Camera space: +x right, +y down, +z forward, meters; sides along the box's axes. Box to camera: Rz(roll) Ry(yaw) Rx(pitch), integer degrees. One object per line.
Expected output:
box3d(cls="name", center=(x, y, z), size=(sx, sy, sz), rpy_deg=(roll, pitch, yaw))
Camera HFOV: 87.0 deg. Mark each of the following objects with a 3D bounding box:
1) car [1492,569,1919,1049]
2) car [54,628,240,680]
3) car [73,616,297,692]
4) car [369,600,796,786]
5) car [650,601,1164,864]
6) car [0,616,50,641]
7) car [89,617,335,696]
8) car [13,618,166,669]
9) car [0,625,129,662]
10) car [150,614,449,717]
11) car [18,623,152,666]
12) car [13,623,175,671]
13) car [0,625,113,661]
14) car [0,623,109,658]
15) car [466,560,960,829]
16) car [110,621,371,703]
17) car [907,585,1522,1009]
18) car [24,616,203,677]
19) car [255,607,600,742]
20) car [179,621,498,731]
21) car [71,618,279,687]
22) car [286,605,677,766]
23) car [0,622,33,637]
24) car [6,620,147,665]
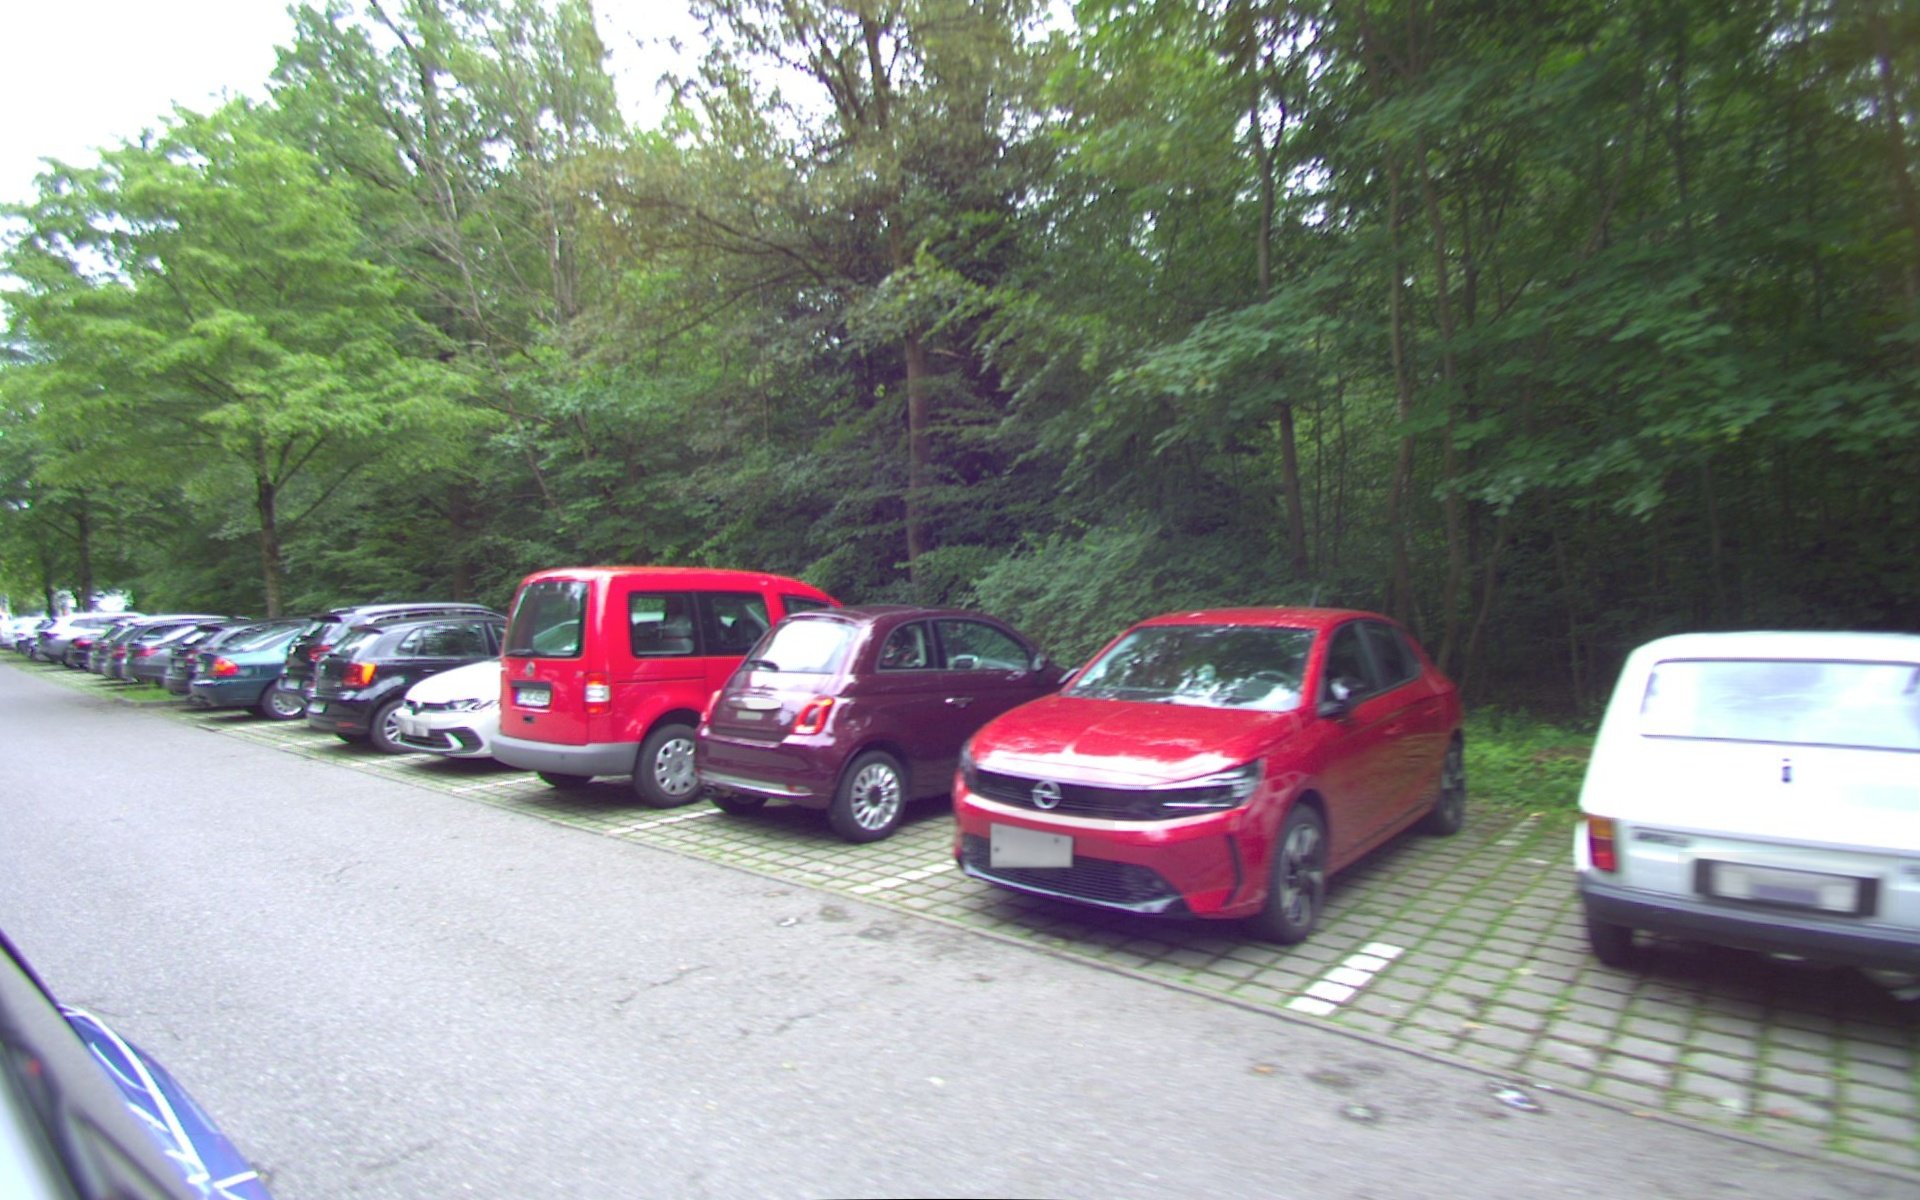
box3d(cls="car", center=(4.002, 0.643, 4.762), size=(1.770, 1.459, 3.945), rpy_deg=(-2, -1, 41))
box3d(cls="car", center=(-23.710, 1.529, 29.654), size=(1.710, 1.381, 3.951), rpy_deg=(-1, -1, 36))
box3d(cls="car", center=(-18.472, 1.224, 24.286), size=(1.710, 1.528, 3.952), rpy_deg=(-1, 0, 36))
box3d(cls="car", center=(-3.871, 0.826, 10.852), size=(1.741, 1.609, 3.943), rpy_deg=(-2, -1, 43))
box3d(cls="car", center=(-0.199, 0.791, 7.988), size=(1.817, 1.527, 3.945), rpy_deg=(-2, -1, 41))
box3d(cls="car", center=(-59.324, 1.788, 62.813), size=(3.932, 1.431, 1.787), rpy_deg=(-1, 0, -33))
box3d(cls="car", center=(-16.641, 1.187, 22.682), size=(1.817, 1.549, 4.167), rpy_deg=(-2, -1, 41))
box3d(cls="car", center=(-31.312, 1.511, 36.492), size=(1.711, 1.722, 3.949), rpy_deg=(-1, -2, 38))
box3d(cls="car", center=(-38.496, 1.843, 43.551), size=(1.711, 1.489, 3.949), rpy_deg=(-1, -2, 38))
box3d(cls="car", center=(-11.208, 1.027, 17.402), size=(1.739, 1.453, 3.948), rpy_deg=(-1, 0, 38))
box3d(cls="car", center=(-36.152, 1.795, 41.896), size=(1.711, 1.684, 3.949), rpy_deg=(-1, -2, 38))
box3d(cls="car", center=(-29.469, 1.568, 34.542), size=(1.711, 1.500, 3.949), rpy_deg=(-1, -2, 38))
box3d(cls="car", center=(-40.339, 1.869, 44.899), size=(1.711, 1.489, 3.949), rpy_deg=(-1, -2, 38))
box3d(cls="car", center=(-41.680, 1.831, 46.284), size=(1.711, 1.489, 3.949), rpy_deg=(-2, -1, 38))
box3d(cls="car", center=(-1.972, 0.660, 8.973), size=(1.817, 1.828, 3.946), rpy_deg=(-2, -1, 40))
box3d(cls="car", center=(-14.777, 1.202, 20.934), size=(1.819, 1.467, 4.163), rpy_deg=(-2, -1, 45))
box3d(cls="car", center=(1.710, 0.727, 5.732), size=(1.770, 1.527, 3.945), rpy_deg=(-2, -1, 41))
box3d(cls="car", center=(-25.901, 1.369, 31.079), size=(1.711, 1.740, 3.949), rpy_deg=(-1, -2, 38))
box3d(cls="car", center=(-7.338, 0.921, 14.242), size=(1.740, 1.609, 3.946), rpy_deg=(-2, -1, 40))
box3d(cls="car", center=(-9.548, 1.074, 15.758), size=(1.742, 1.432, 3.943), rpy_deg=(-2, -1, 44))
box3d(cls="car", center=(-20.304, 1.291, 26.312), size=(1.710, 1.528, 3.952), rpy_deg=(-1, 0, 36))
box3d(cls="car", center=(-5.638, 0.884, 12.266), size=(1.741, 1.609, 3.943), rpy_deg=(-2, -1, 43))
box3d(cls="car", center=(-88.732, 2.720, 94.829), size=(1.743, 1.325, 3.903), rpy_deg=(-1, 0, -27))
box3d(cls="car", center=(-34.811, 1.640, 39.965), size=(1.711, 1.684, 3.949), rpy_deg=(-1, -2, 38))
